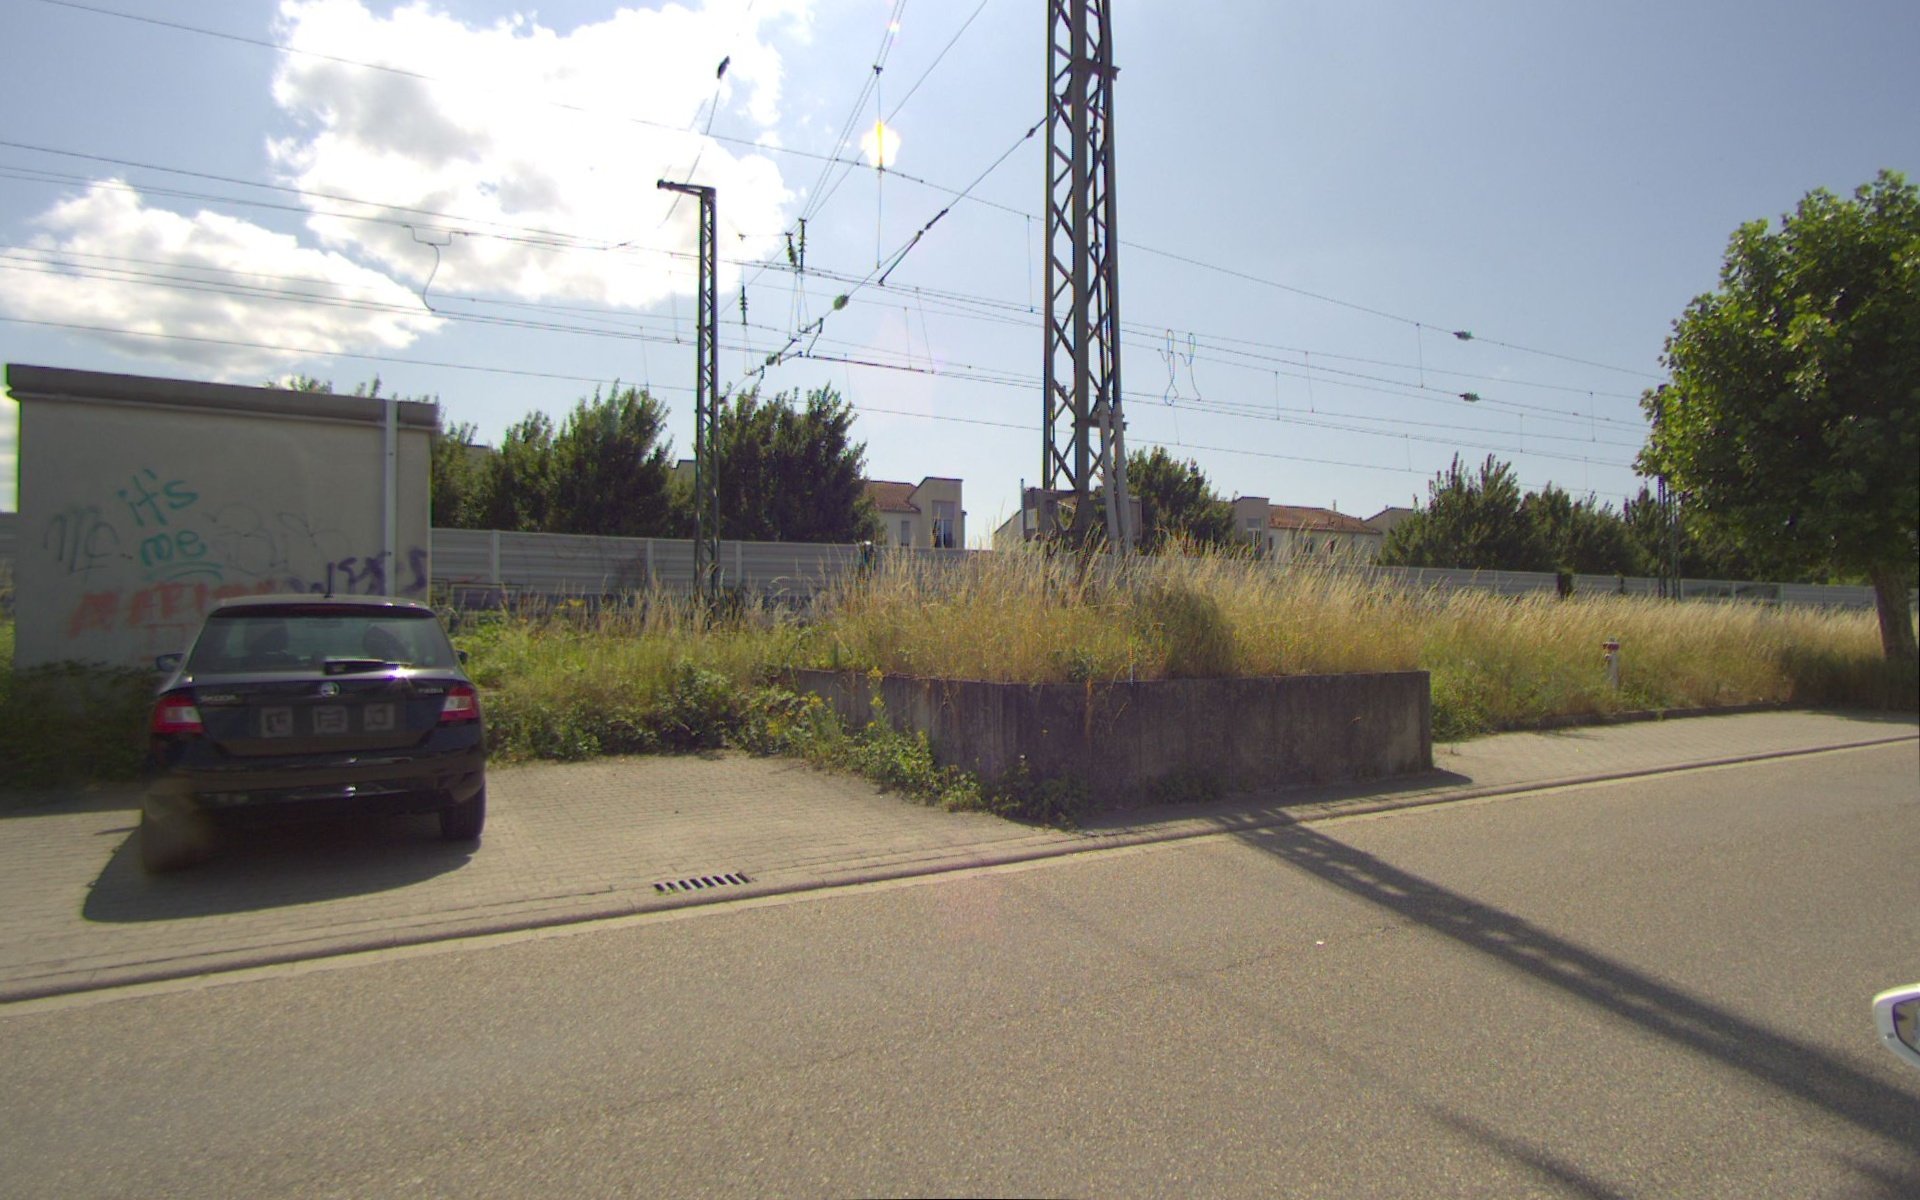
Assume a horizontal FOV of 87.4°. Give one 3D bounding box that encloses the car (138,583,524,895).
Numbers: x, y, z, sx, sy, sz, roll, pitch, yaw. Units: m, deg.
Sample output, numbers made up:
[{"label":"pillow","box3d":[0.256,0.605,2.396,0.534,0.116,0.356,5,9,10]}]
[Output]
[{"label":"car","box3d":[-4.260,0.782,6.909,1.682,1.519,3.622,4,-4,-33]}]
